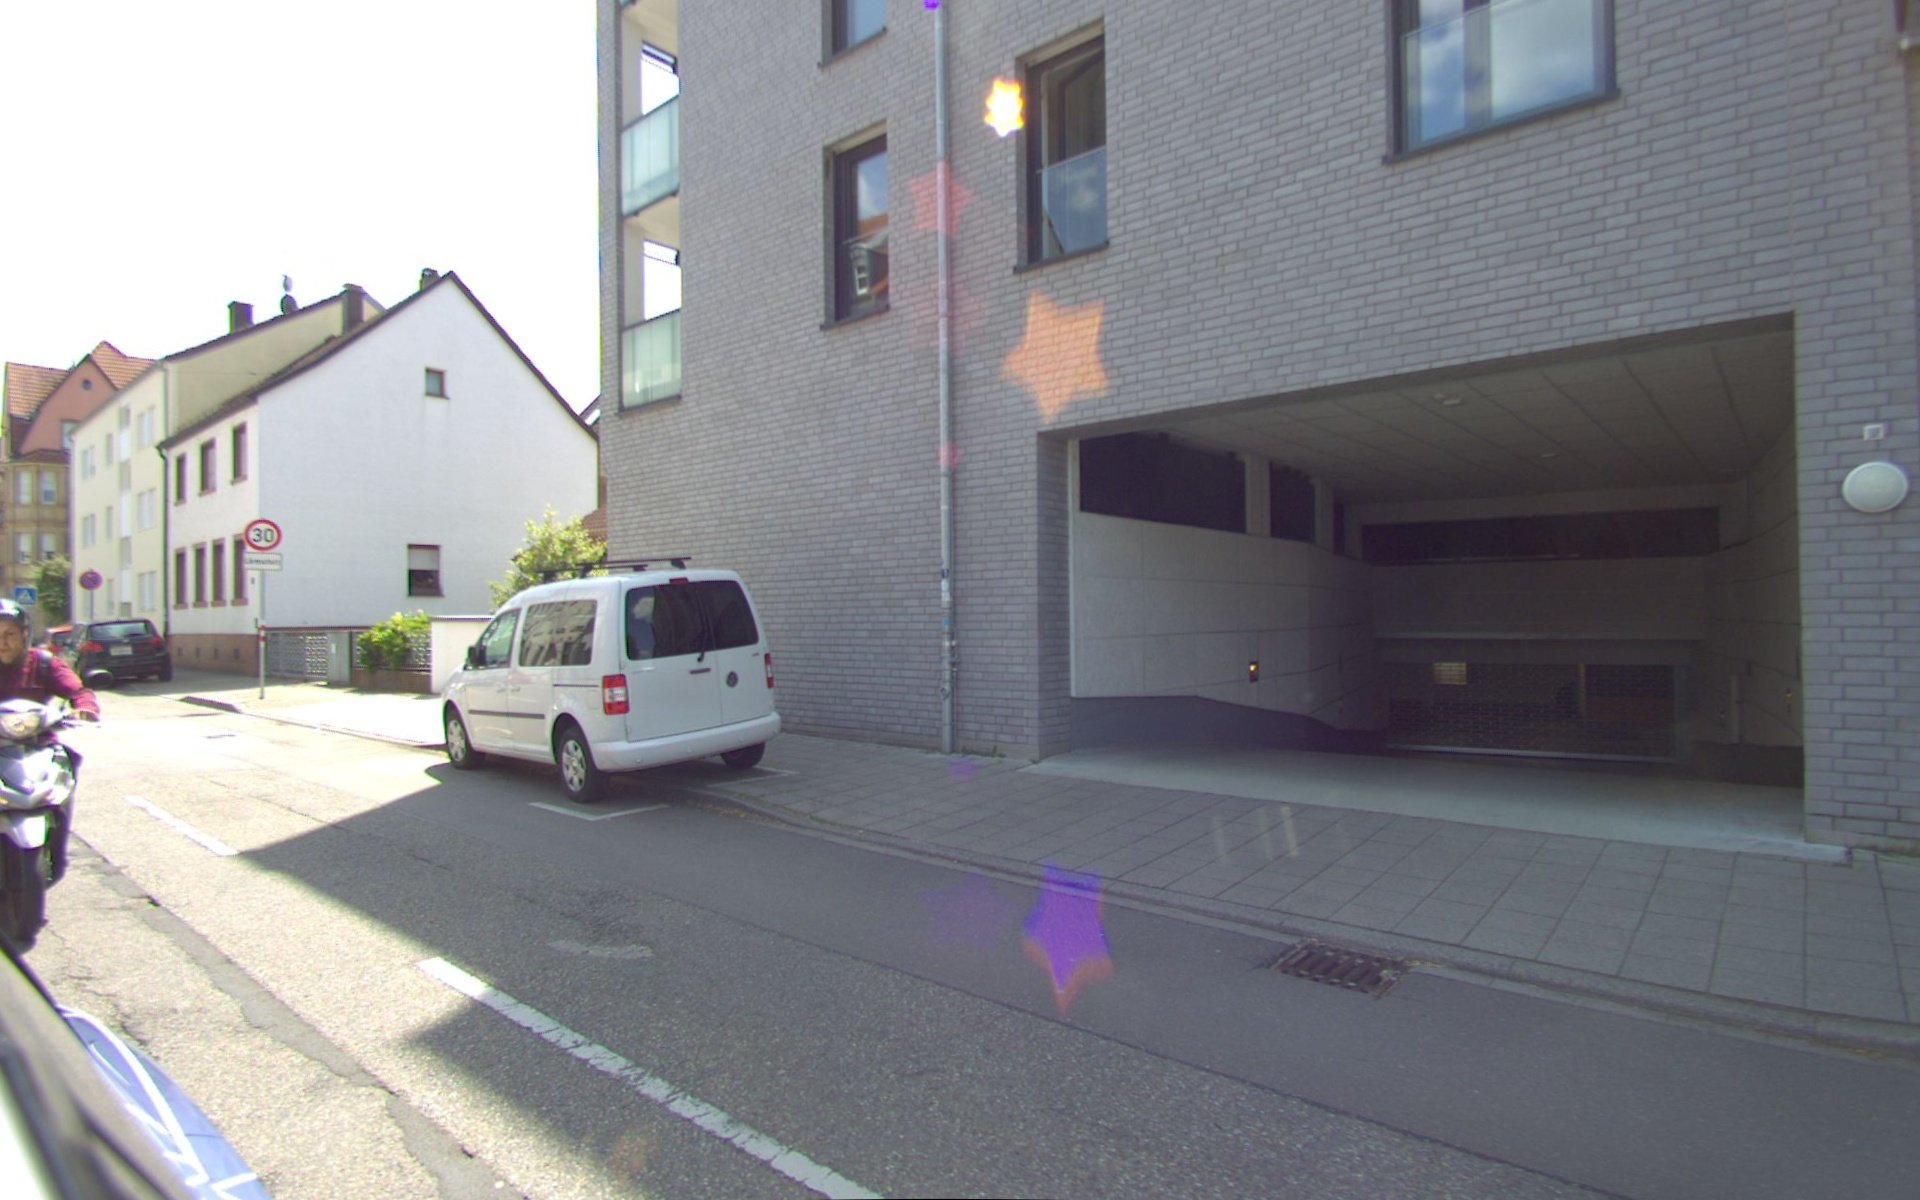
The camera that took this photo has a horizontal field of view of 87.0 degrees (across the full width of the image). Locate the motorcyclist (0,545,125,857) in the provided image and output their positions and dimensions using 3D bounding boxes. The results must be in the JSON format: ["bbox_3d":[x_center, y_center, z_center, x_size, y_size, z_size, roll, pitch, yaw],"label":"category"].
[{"bbox_3d":[-4.824,0.485,5.096,1.020,1.451,0.783,-3,-1,41],"label":"motorcyclist"}]

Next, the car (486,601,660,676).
[{"bbox_3d":[-9.082,0.878,23.984,3.509,1.551,1.641,-2,0,-6],"label":"car"}]

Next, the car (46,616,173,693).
[{"bbox_3d":[-20.694,1.272,24.588,3.943,1.659,1.776,-2,0,41],"label":"car"}]

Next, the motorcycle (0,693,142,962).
[{"bbox_3d":[-4.830,1.062,5.112,1.991,1.063,0.750,-3,-1,41],"label":"motorcycle"}]

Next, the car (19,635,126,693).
[{"bbox_3d":[-24.548,1.701,27.953,4.289,1.427,1.814,-2,-1,43],"label":"car"}]

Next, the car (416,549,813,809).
[{"bbox_3d":[-3.453,0.613,9.603,4.338,1.906,1.737,-2,1,44],"label":"car"}]
